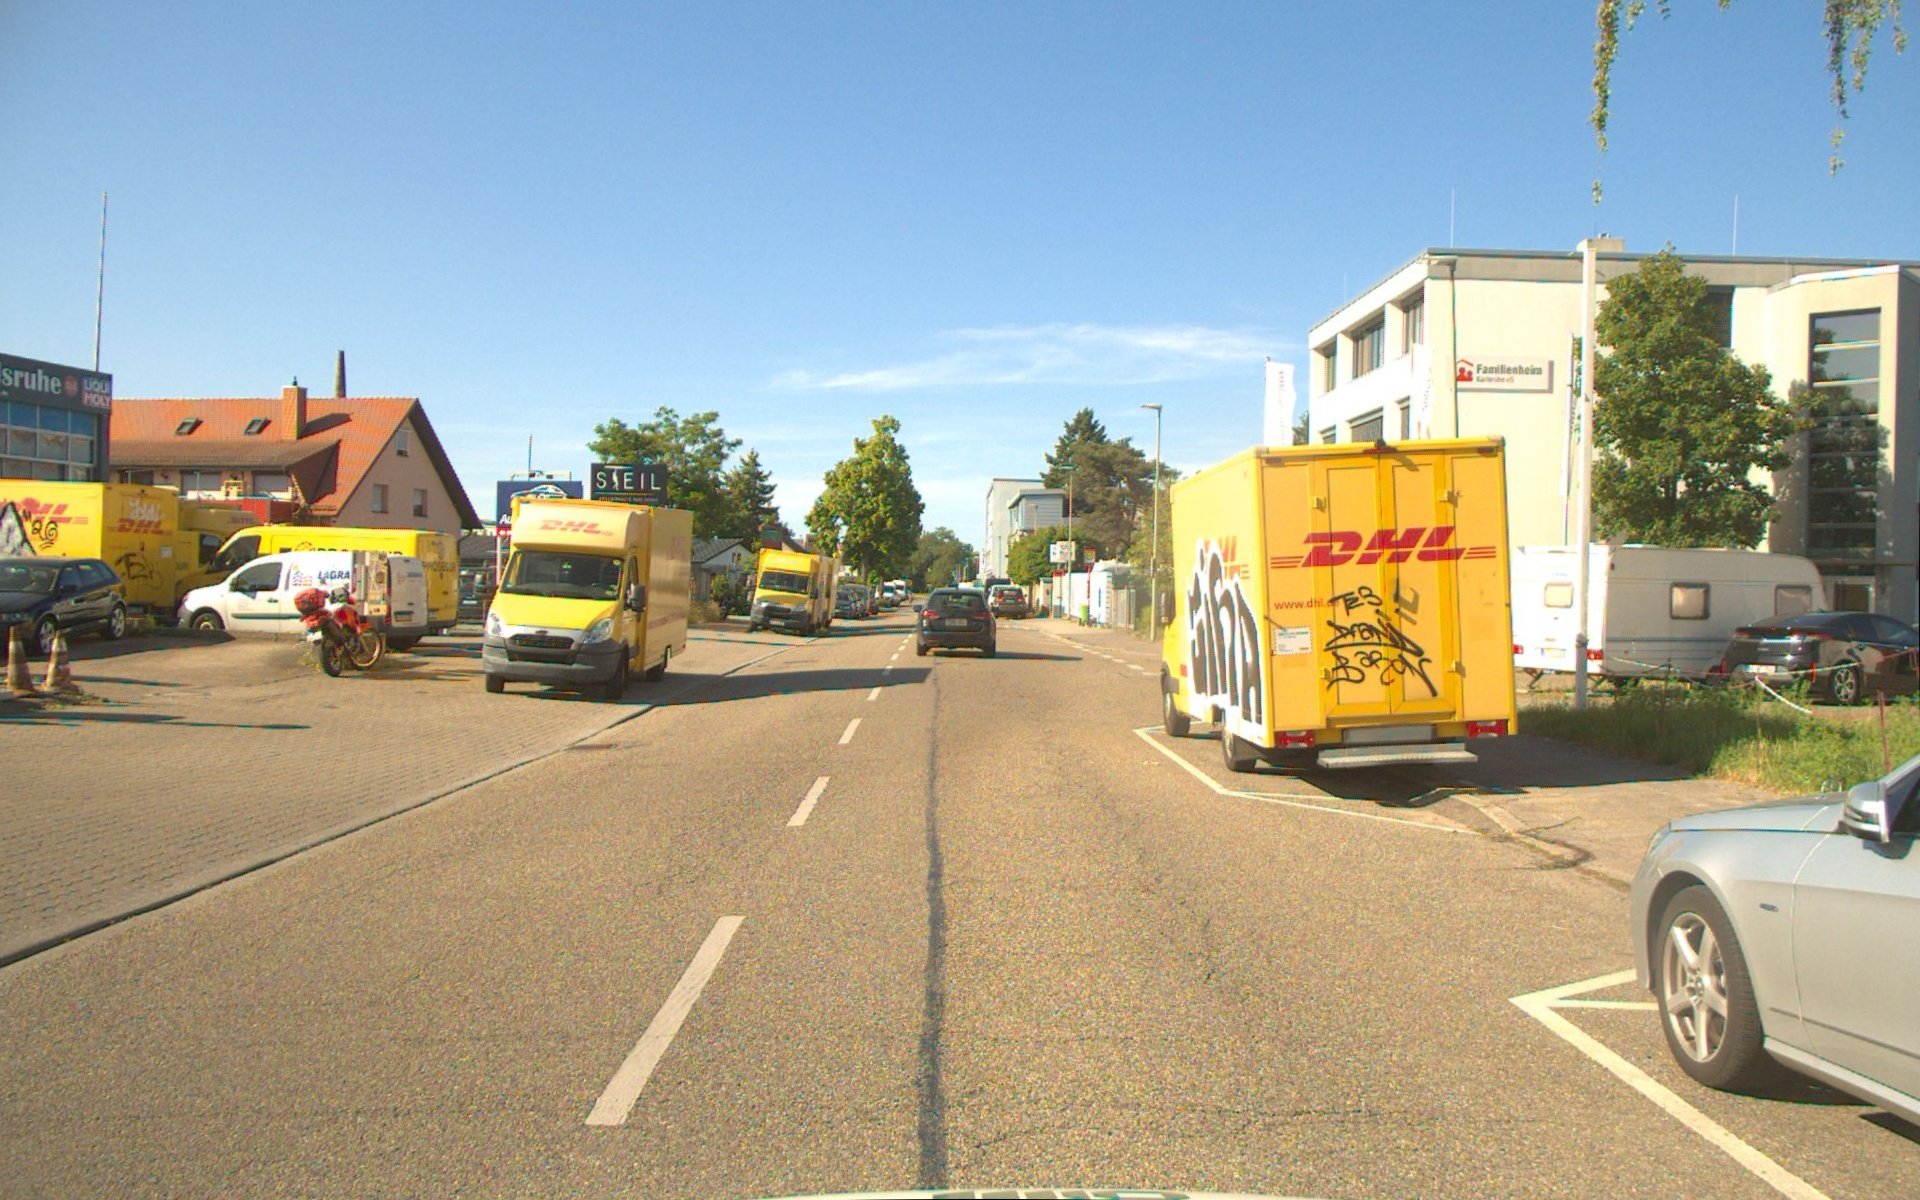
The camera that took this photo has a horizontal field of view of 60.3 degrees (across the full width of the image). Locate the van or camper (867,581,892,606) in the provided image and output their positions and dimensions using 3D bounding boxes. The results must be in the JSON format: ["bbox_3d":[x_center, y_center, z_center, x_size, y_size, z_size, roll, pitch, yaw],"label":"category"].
[{"bbox_3d":[-8.178,-0.632,167.411,2.277,2.403,6.522,1,0,-4],"label":"van or camper"}]

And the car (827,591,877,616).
[{"bbox_3d":[-6.754,0.205,103.245,1.852,1.511,4.013,-1,1,-24],"label":"car"}]

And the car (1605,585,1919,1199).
[{"bbox_3d":[3.353,0.772,3.738,1.748,1.569,4.534,1,0,-4],"label":"car"}]

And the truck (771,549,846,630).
[{"bbox_3d":[-5.911,-0.415,65.358,2.148,2.952,6.439,3,0,0],"label":"truck"}]

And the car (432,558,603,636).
[{"bbox_3d":[-12.280,-0.100,45.982,4.158,2.049,1.870,1,0,8],"label":"car"}]

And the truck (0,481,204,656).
[{"bbox_3d":[-18.190,-0.678,32.434,5.548,3.173,2.525,3,0,10],"label":"truck"}]

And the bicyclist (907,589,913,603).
[{"bbox_3d":[-5.673,-0.503,187.182,0.681,1.566,0.635,1,0,-3],"label":"bicyclist"}]

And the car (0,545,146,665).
[{"bbox_3d":[-15.059,0.014,26.884,1.828,1.589,4.211,1,4,-5],"label":"car"}]

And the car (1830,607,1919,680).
[{"bbox_3d":[23.194,1.040,39.013,4.418,1.646,1.800,1,0,-1],"label":"car"}]

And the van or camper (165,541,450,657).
[{"bbox_3d":[-12.316,-0.027,31.417,4.447,2.049,2.252,1,0,6],"label":"van or camper"}]

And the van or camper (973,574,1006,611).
[{"bbox_3d":[1.900,-0.486,107.262,1.953,2.351,4.000,1,0,-1],"label":"van or camper"}]

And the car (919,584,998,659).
[{"bbox_3d":[-0.020,0.434,36.964,1.676,1.559,3.688,1,1,0],"label":"car"}]

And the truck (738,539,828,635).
[{"bbox_3d":[-6.104,-0.444,57.878,2.354,3.035,6.373,3,0,0],"label":"truck"}]

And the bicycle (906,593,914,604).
[{"bbox_3d":[-5.656,-0.166,187.202,0.812,1.173,2.939,1,0,-2],"label":"bicycle"}]

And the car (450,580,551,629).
[{"bbox_3d":[-15.863,0.130,57.290,1.658,1.606,4.048,1,1,13],"label":"car"}]

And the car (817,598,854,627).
[{"bbox_3d":[-6.483,0.633,86.360,1.721,1.428,4.555,1,0,-2],"label":"car"}]

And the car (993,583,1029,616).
[{"bbox_3d":[2.944,-0.050,96.463,1.880,1.857,4.079,1,0,-1],"label":"car"}]

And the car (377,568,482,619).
[{"bbox_3d":[-18.550,-0.234,58.028,1.658,1.690,4.047,1,0,13],"label":"car"}]

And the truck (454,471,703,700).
[{"bbox_3d":[-5.798,-0.213,26.331,2.354,3.035,7.243,3,0,-2],"label":"truck"}]

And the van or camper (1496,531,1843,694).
[{"bbox_3d":[12.235,0.221,28.464,5.740,2.586,2.272,1,0,-25],"label":"van or camper"}]

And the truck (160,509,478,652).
[{"bbox_3d":[-13.280,-0.415,34.401,5.795,2.612,2.226,3,0,11],"label":"truck"}]

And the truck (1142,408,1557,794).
[{"bbox_3d":[3.449,-0.003,16.493,2.354,2.988,7.015,-1,0,-1],"label":"truck"}]

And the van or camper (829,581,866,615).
[{"bbox_3d":[-6.514,-0.091,96.244,1.852,1.959,4.266,0,0,0],"label":"van or camper"}]

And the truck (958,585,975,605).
[{"bbox_3d":[0.799,-0.640,201.385,1.953,2.327,6.954,1,0,-1],"label":"truck"}]

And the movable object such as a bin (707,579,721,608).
[{"bbox_3d":[-11.548,-0.298,77.664,0.573,1.363,0.549,1,0,-1],"label":"movable object such as a bin"}]

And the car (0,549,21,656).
[{"bbox_3d":[-17.941,-0.018,27.357,1.951,1.847,4.003,3,0,12],"label":"car"}]

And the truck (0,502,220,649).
[{"bbox_3d":[-19.017,-0.546,35.729,5.221,3.024,2.175,1,0,12],"label":"truck"}]

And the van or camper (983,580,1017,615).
[{"bbox_3d":[2.452,-0.168,101.961,1.880,2.055,4.079,1,0,-1],"label":"van or camper"}]

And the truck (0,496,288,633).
[{"bbox_3d":[-19.031,-0.839,38.633,5.961,3.024,2.175,1,0,12],"label":"truck"}]

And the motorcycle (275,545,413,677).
[{"bbox_3d":[-9.661,0.139,26.102,0.765,1.905,3.042,4,1,3],"label":"motorcycle"}]

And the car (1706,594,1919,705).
[{"bbox_3d":[14.007,0.762,26.284,3.935,1.646,1.797,1,0,-25],"label":"car"}]
